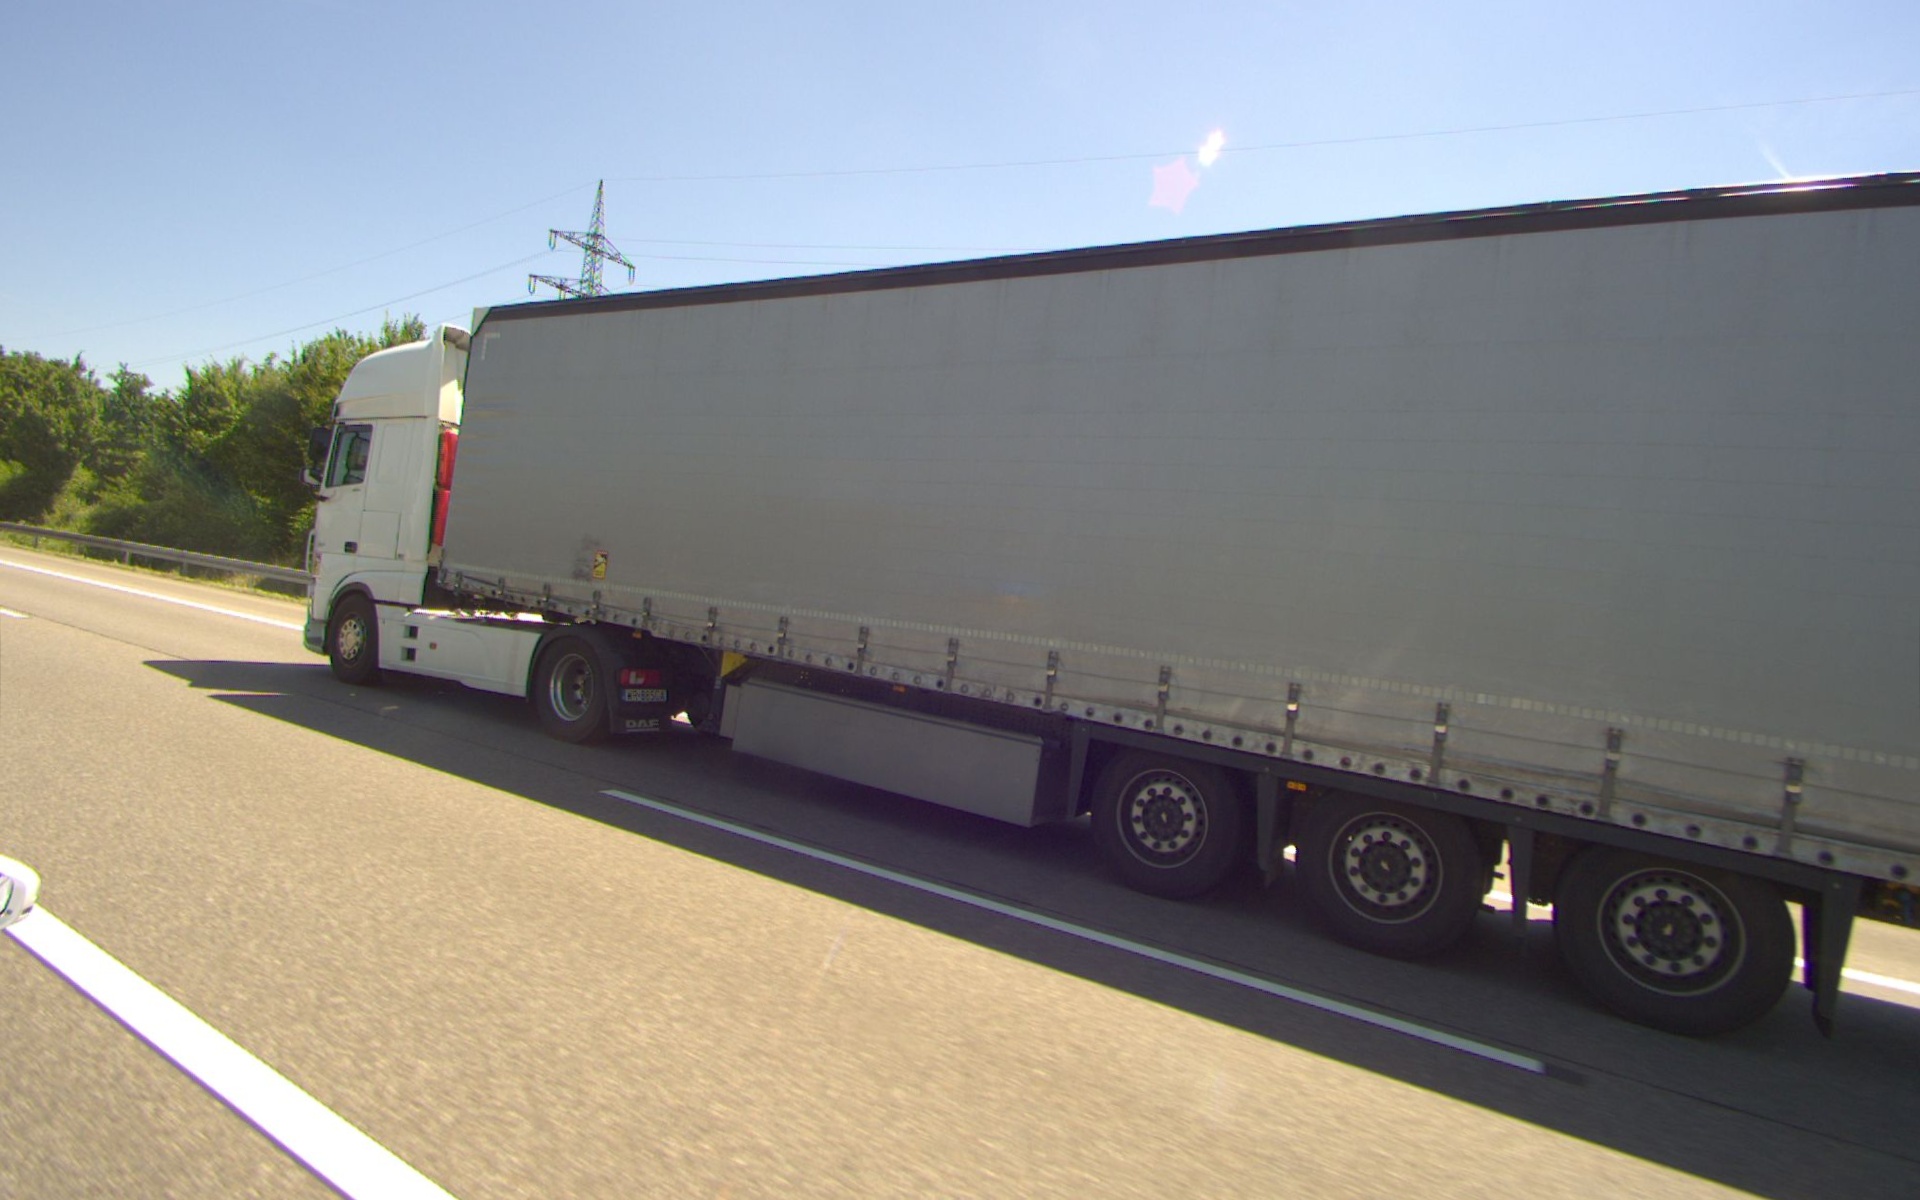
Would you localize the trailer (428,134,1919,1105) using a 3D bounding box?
[{"bbox_3d":[1.135,-0.252,7.763,12.904,4.155,2.740,6,-1,32],"label":"trailer"}]

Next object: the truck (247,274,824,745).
[{"bbox_3d":[-5.011,-0.957,11.599,6.023,4.169,2.740,7,-1,31],"label":"truck"}]
